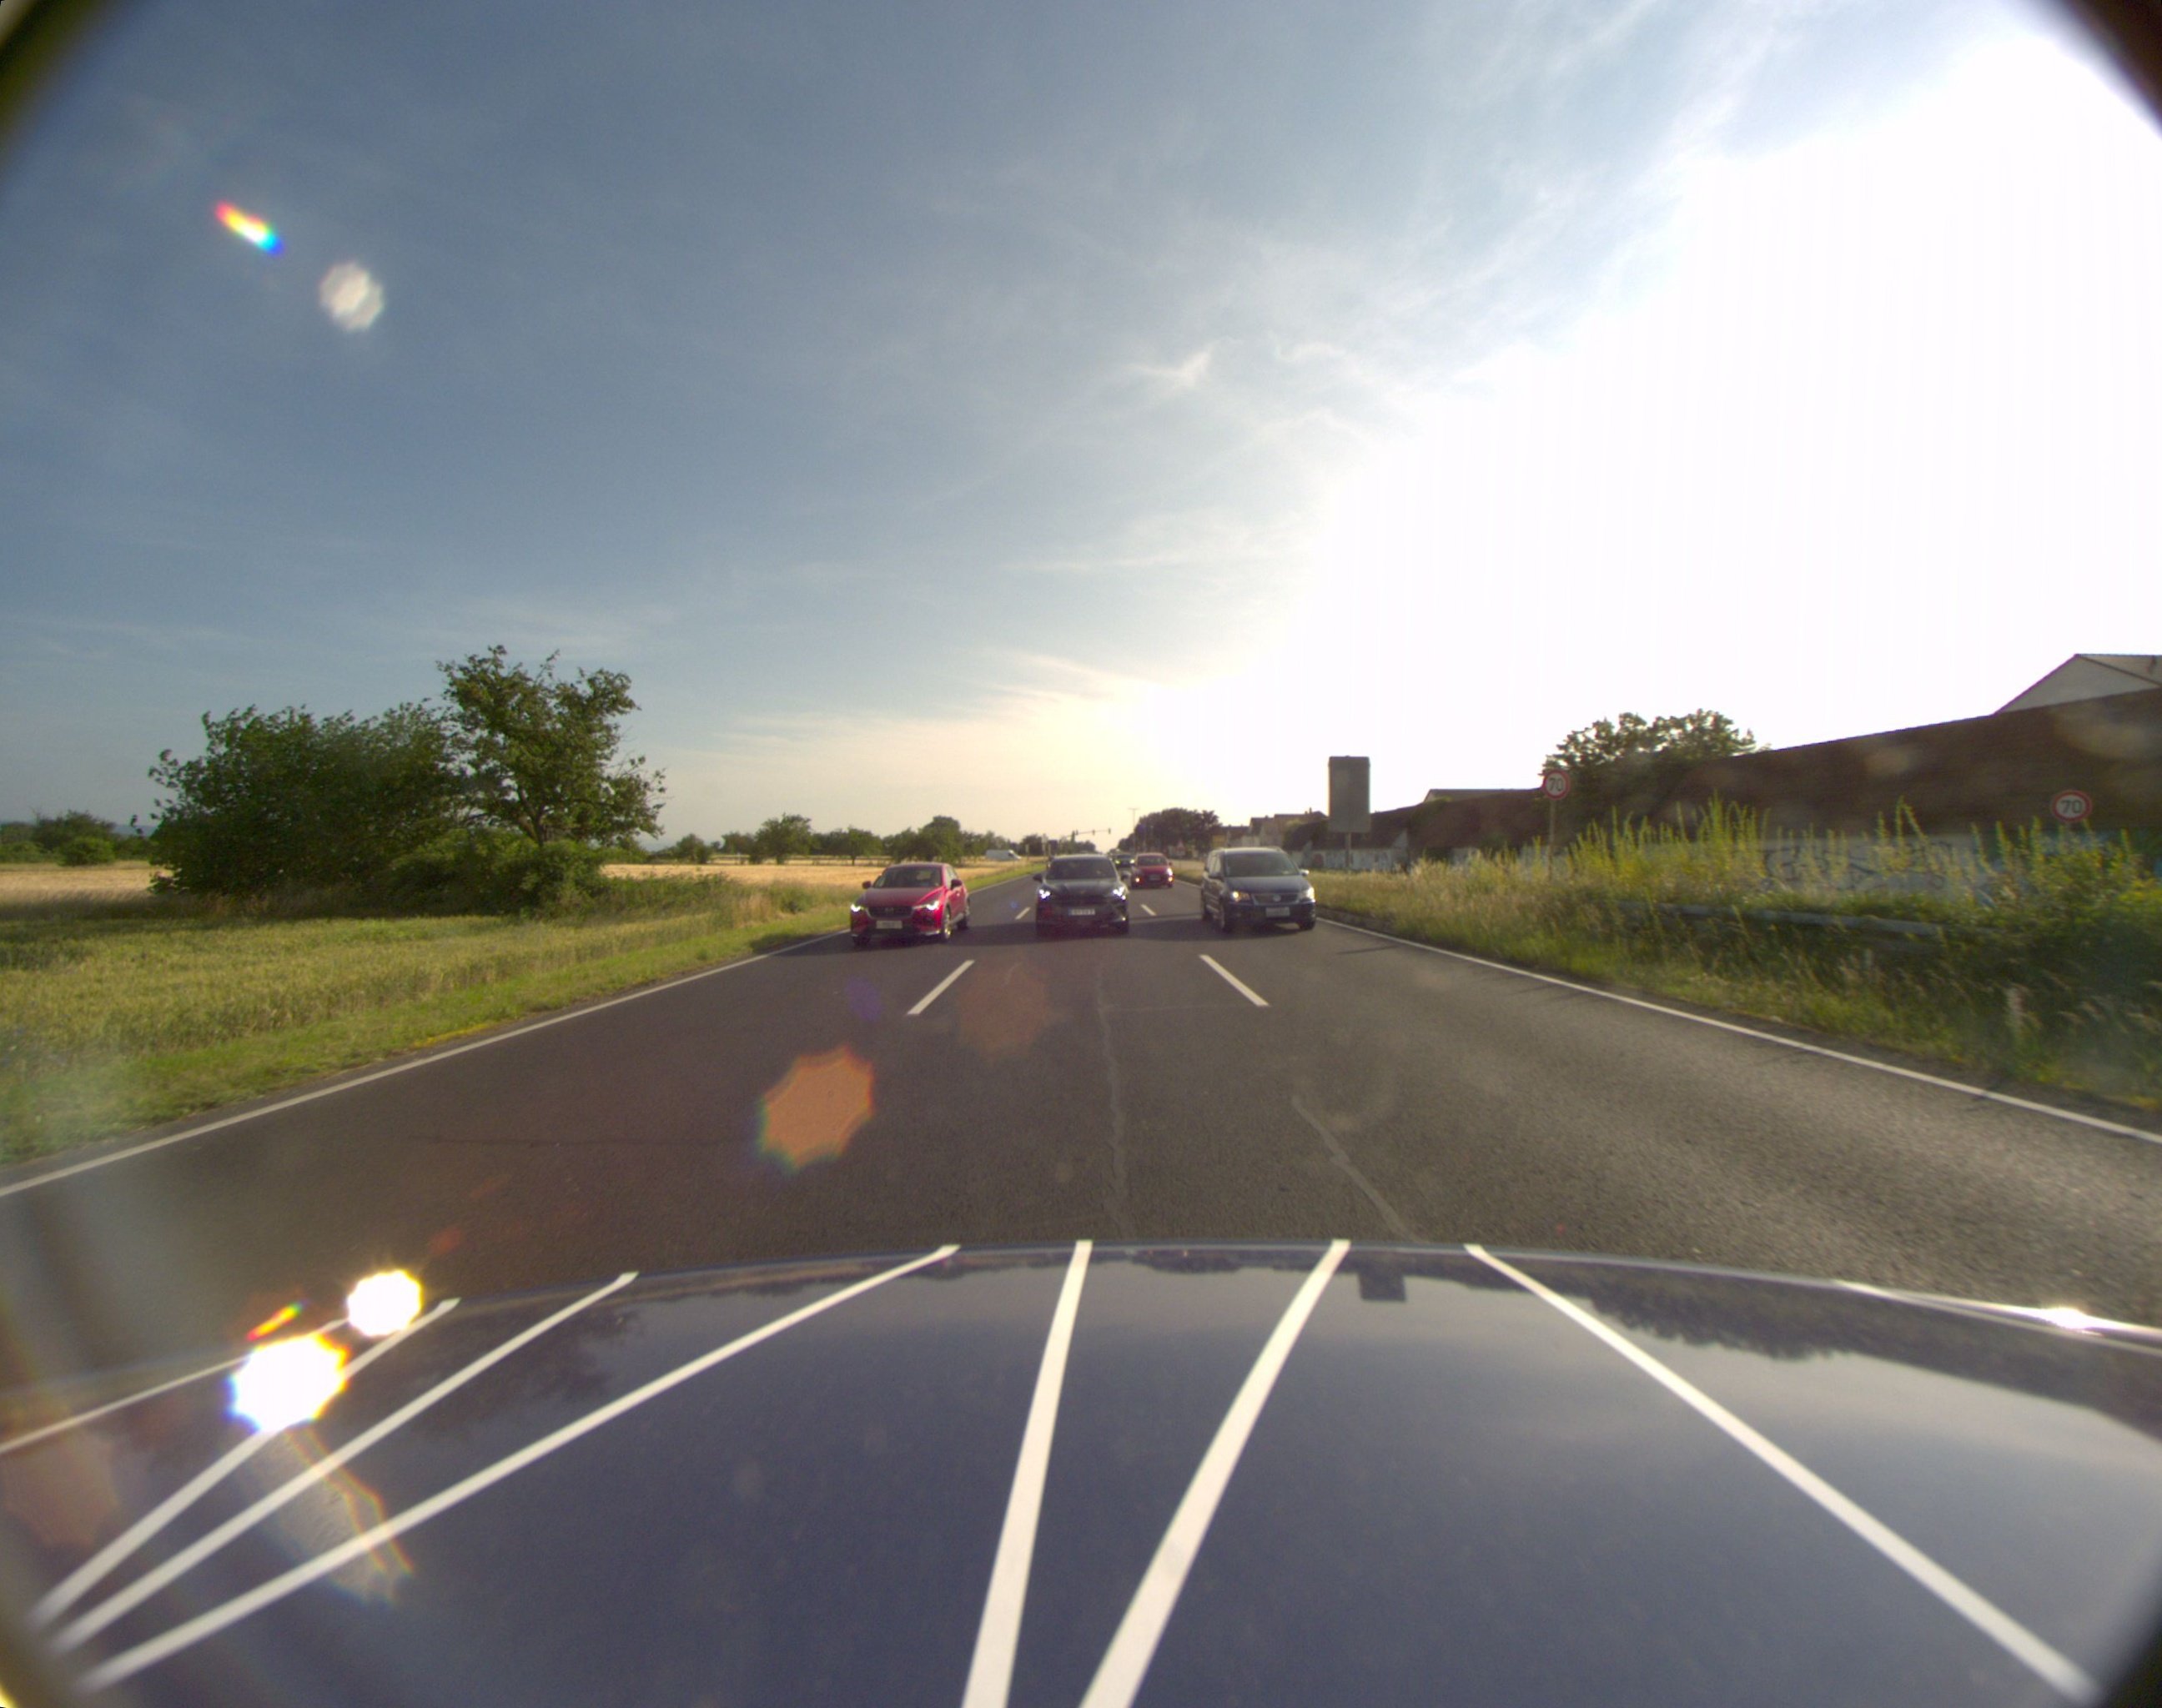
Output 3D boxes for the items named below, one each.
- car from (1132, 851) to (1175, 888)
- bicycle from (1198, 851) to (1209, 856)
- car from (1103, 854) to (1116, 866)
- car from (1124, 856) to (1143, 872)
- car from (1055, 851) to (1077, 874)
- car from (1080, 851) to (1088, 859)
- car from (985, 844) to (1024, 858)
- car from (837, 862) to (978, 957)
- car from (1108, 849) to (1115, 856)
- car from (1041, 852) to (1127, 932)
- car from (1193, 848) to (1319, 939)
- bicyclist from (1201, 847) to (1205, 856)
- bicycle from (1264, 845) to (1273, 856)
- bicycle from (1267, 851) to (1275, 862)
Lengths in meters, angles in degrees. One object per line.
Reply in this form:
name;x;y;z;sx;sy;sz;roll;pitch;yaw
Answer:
car;3.375;0.692;36.033;1.748;1.537;4.000;-2;1;2
bicycle;25.502;-0.112;157.883;2.159;1.185;0.904;1;2;10
car;5.000;1.125;135.469;1.999;2.002;3.998;-2;1;-2
car;5.422;1.042;78.705;1.718;1.521;4.000;-2;1;2
car;-1.433;0.786;72.244;1.999;2.002;3.999;-2;1;-1
car;0.741;0.167;200.962;1.999;2.002;3.998;-2;1;-2
car;-14.602;-0.634;145.035;7.201;2.654;2.094;0;2;15
car;-3.343;0.992;15.543;1.708;1.497;4.500;-2;1;1
car;9.992;-0.441;249.087;1.998;2.002;4.000;-2;1;2
car;0.130;0.807;18.409;1.791;1.594;4.339;-2;1;2
car;3.563;0.708;16.311;1.777;1.612;4.681;-1;1;2
bicyclist;25.345;-0.553;157.922;0.856;1.777;0.847;2;2;10
bicycle;31.841;-0.606;129.040;0.755;1.739;2.607;-2;1;2
bicycle;31.735;0.398;126.819;0.755;1.739;2.607;-2;1;2
